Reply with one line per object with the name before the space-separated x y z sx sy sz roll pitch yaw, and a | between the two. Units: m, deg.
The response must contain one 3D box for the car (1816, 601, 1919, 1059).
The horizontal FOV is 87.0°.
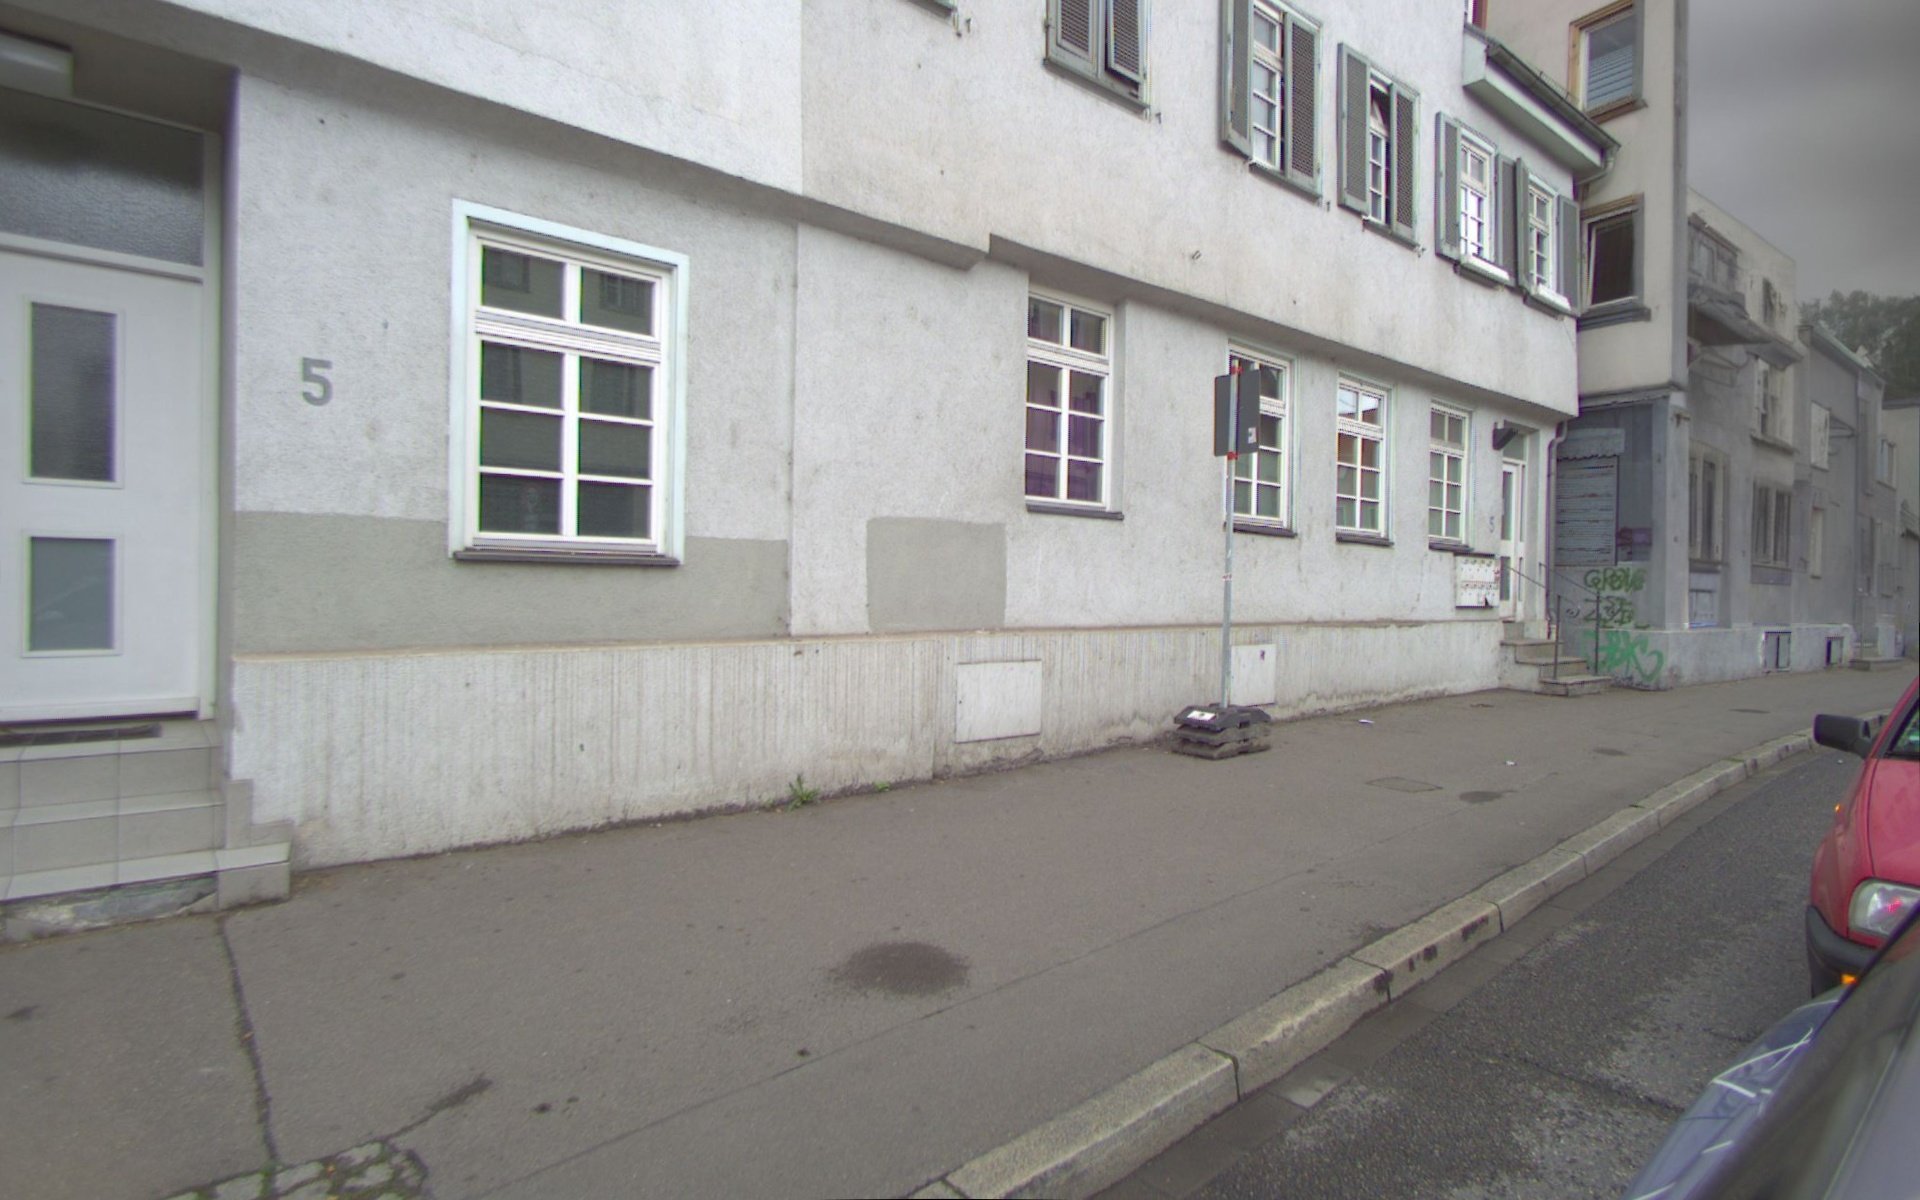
car | 5.025 0.741 4.068 3.930 1.485 1.802 0 -2 -41
